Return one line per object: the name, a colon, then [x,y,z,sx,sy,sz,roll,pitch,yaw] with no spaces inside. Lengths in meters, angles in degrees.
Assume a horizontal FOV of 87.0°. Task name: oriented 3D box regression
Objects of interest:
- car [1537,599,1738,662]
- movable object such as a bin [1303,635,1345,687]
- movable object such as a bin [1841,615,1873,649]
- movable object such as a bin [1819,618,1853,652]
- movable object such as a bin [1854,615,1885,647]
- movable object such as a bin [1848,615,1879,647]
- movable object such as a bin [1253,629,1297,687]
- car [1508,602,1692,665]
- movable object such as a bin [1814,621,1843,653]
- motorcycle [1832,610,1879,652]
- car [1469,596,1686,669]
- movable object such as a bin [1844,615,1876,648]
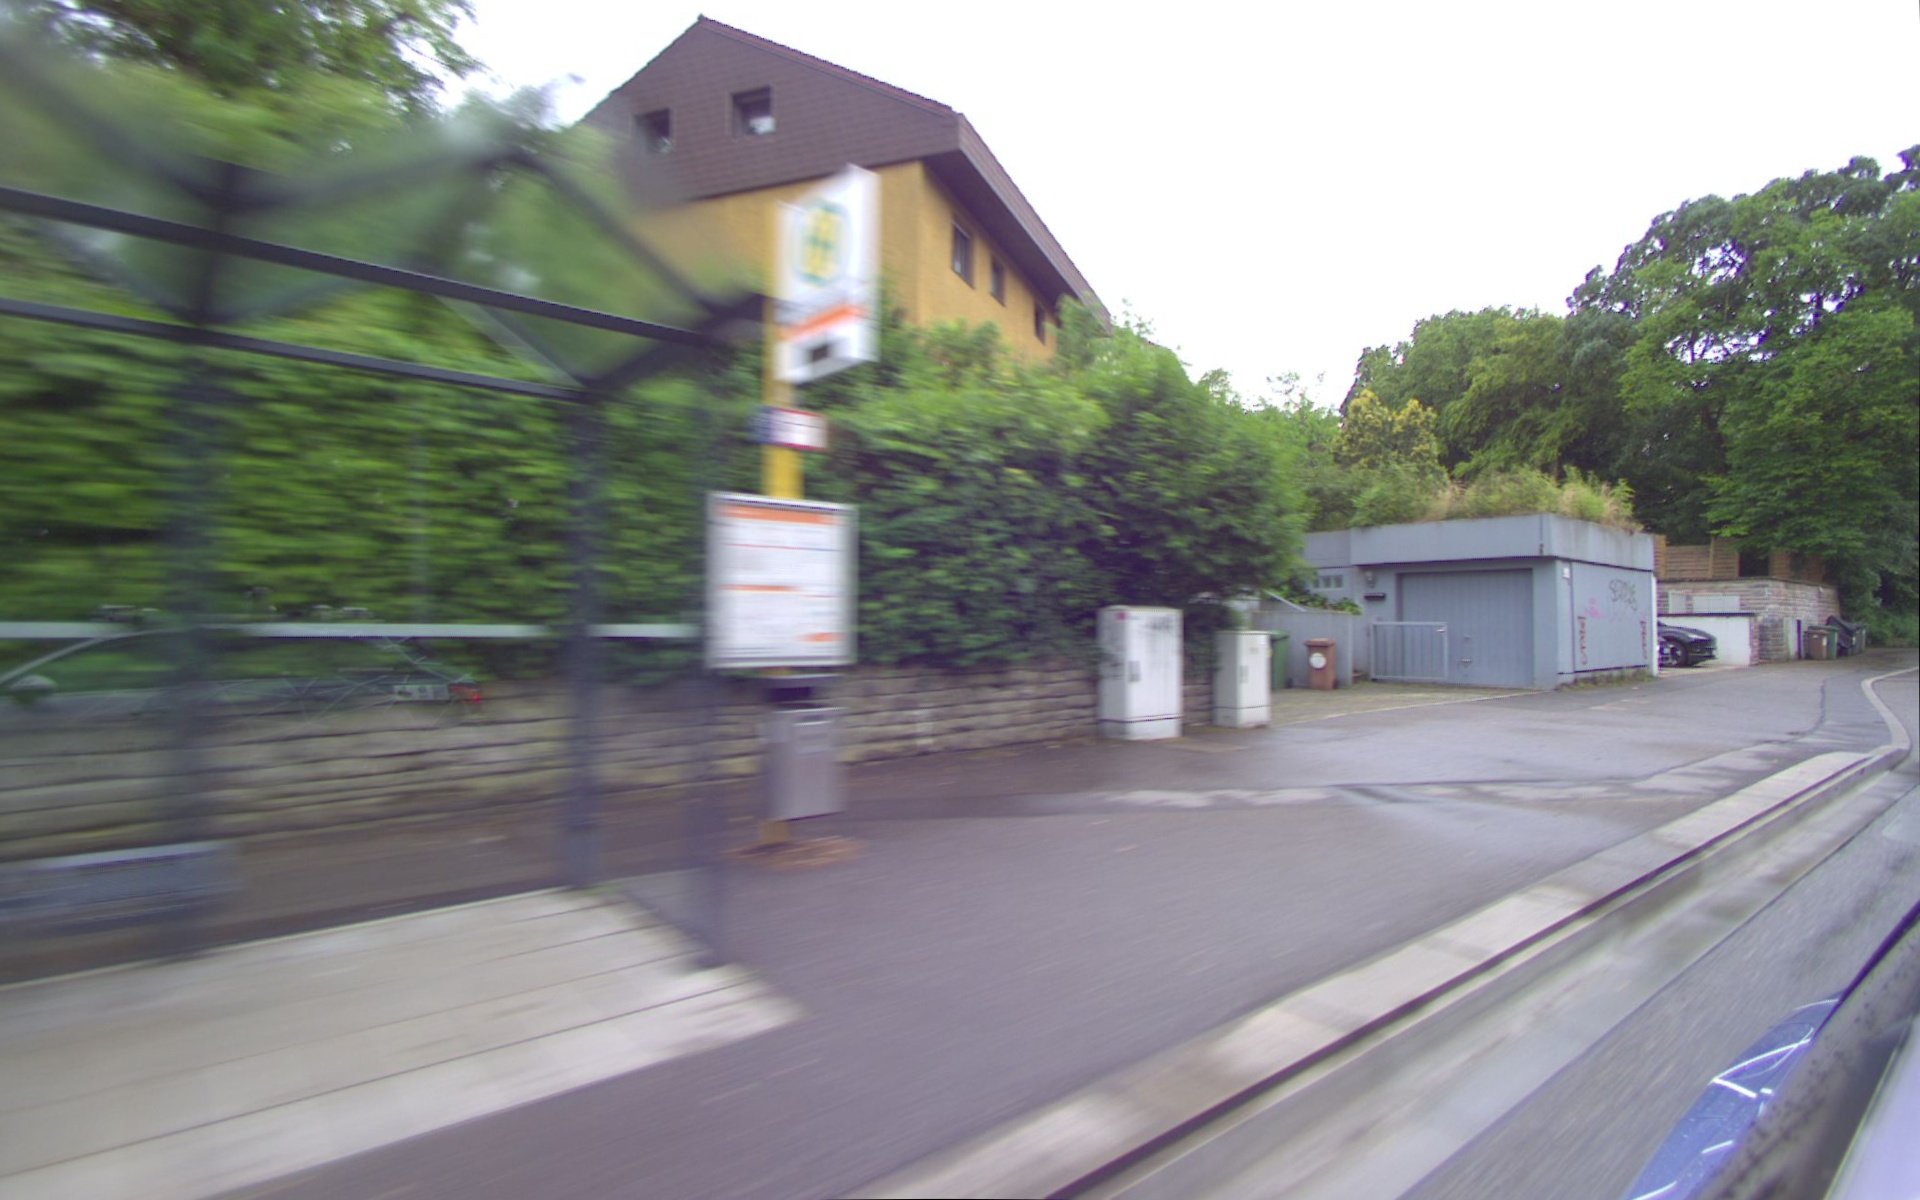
car: [18.405,0.772,27.639,1.861,1.526,4.227,1,0,-40]
movable object such as a bin: [6.602,1.101,18.376,0.556,0.918,0.527,1,-2,-45]
movable object such as a bin: [29.455,1.050,33.246,0.647,1.082,0.666,1,-2,-39]
movable object such as a bin: [27.073,1.081,31.266,0.647,1.017,0.666,1,-2,-39]
movable object such as a bin: [31.233,1.051,34.767,0.688,1.082,0.666,1,-2,-39]
movable object such as a bin: [30.597,1.048,34.269,0.688,1.082,0.666,1,-2,-39]
movable object such as a bin: [5.844,1.065,18.778,0.527,1.049,0.626,-2,-2,45]
car: [16.412,0.803,26.058,1.804,1.444,3.641,1,0,-41]
movable object such as a bin: [26.473,1.128,30.848,0.539,0.949,0.570,1,-2,-39]
motorcycle: [28.417,0.972,32.102,1.977,1.261,0.777,0,-2,-40]
car: [14.763,0.730,24.379,1.922,1.534,4.047,2,0,-36]
movable object such as a bin: [30.045,1.048,33.787,0.647,1.082,0.666,1,-2,-39]
